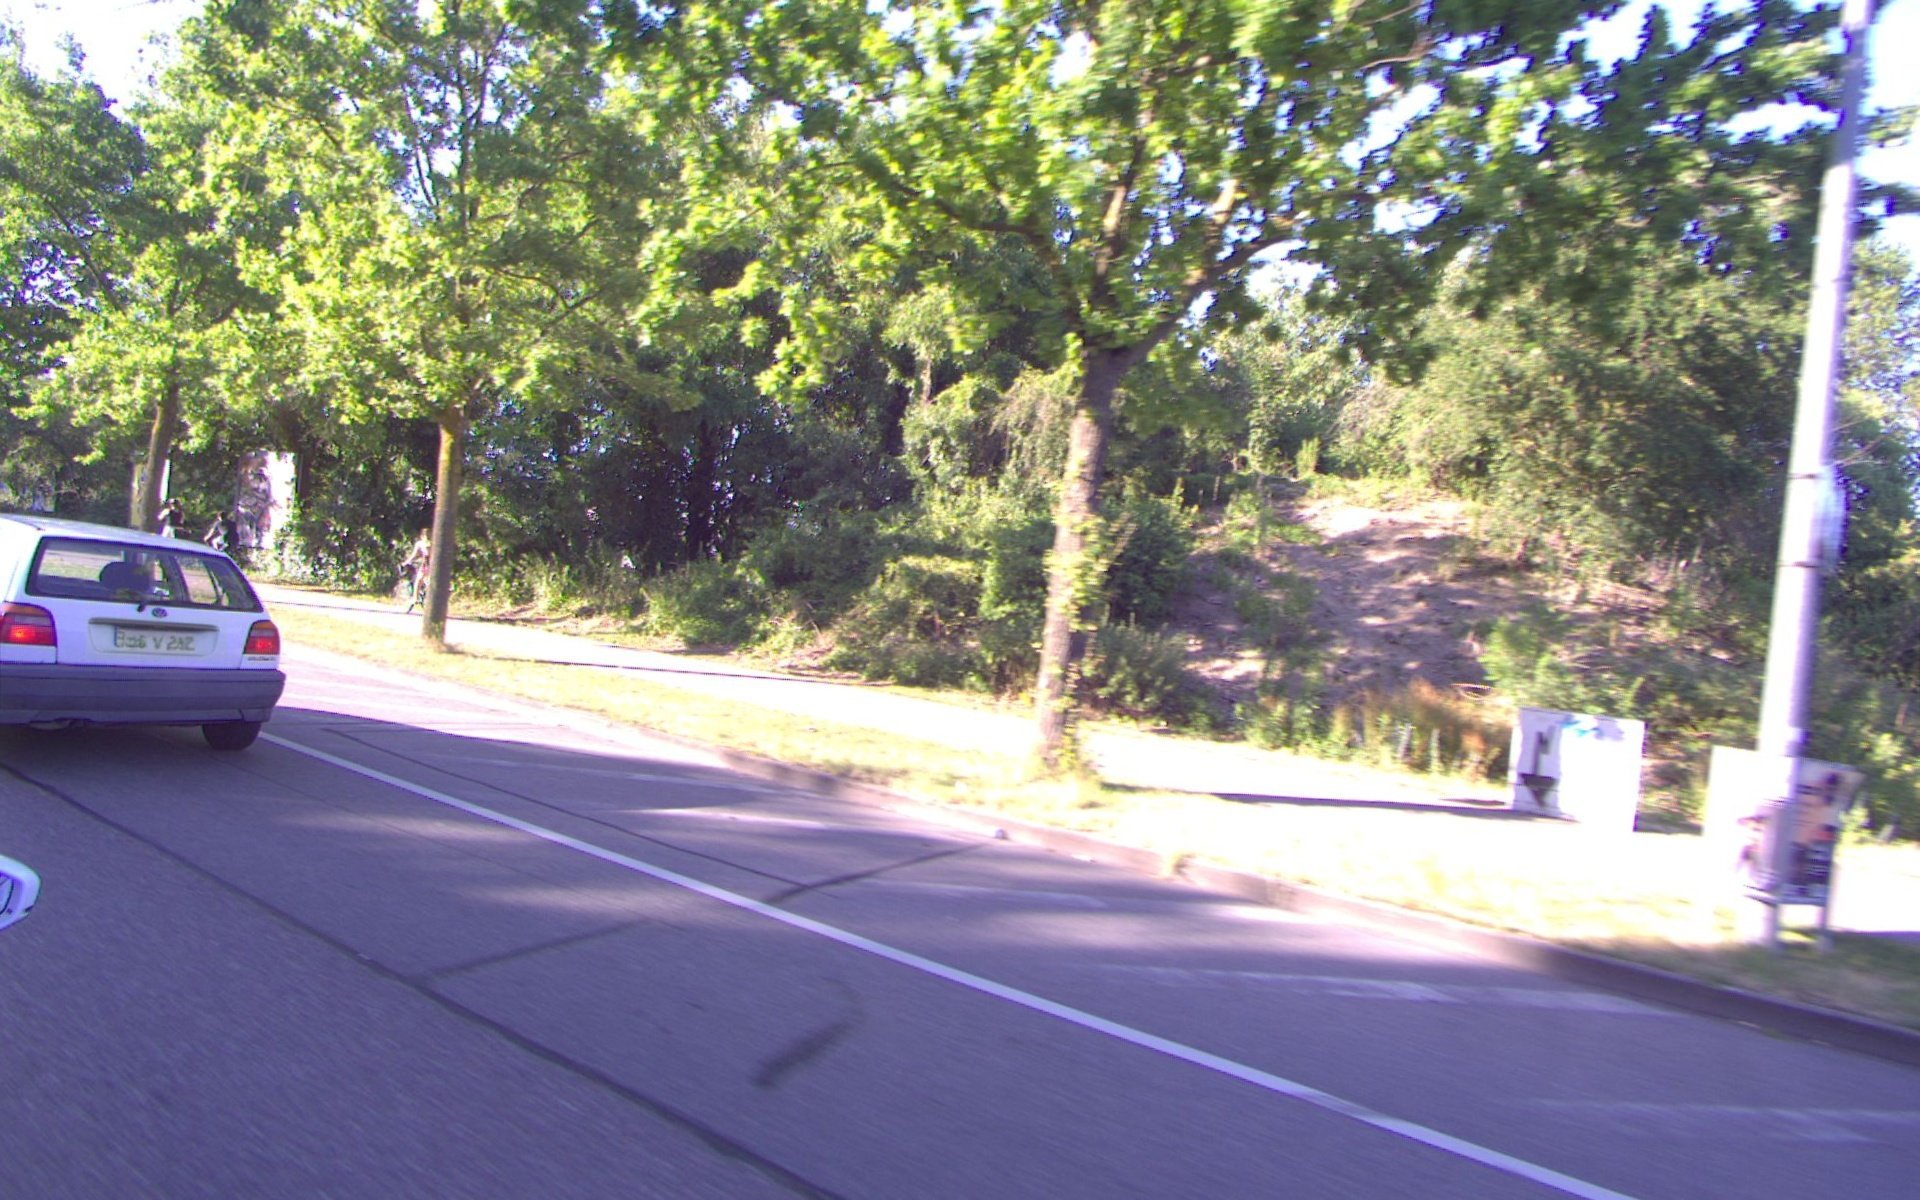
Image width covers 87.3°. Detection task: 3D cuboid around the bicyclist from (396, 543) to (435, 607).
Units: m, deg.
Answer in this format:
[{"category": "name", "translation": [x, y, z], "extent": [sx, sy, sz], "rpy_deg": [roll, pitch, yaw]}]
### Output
[{"category": "bicyclist", "translation": [-11.040, -0.503, 20.384], "extent": [0.452, 1.248, 0.428], "rpy_deg": [5, 0, 32]}]

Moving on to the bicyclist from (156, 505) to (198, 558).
[{"category": "bicyclist", "translation": [-21.489, -1.885, 27.609], "extent": [0.821, 1.331, 0.544], "rpy_deg": [5, -2, 31]}]

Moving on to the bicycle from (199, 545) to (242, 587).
[{"category": "bicycle", "translation": [-18.503, -0.851, 25.164], "extent": [1.010, 0.925, 0.438], "rpy_deg": [5, -2, 32]}]

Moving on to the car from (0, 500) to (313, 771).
[{"category": "car", "translation": [-6.437, 0.110, 6.946], "extent": [3.994, 1.429, 1.582], "rpy_deg": [5, -2, 31]}]

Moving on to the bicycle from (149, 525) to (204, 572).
[{"category": "bicycle", "translation": [-21.478, -1.414, 27.563], "extent": [1.595, 1.125, 0.565], "rpy_deg": [5, -2, 32]}]

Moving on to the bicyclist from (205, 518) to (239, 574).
[{"category": "bicyclist", "translation": [-18.501, -1.356, 25.212], "extent": [0.452, 1.324, 0.428], "rpy_deg": [5, -2, 32]}]

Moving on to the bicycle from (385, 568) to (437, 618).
[{"category": "bicycle", "translation": [-11.130, -0.142, 20.403], "extent": [1.010, 0.926, 0.437], "rpy_deg": [5, 1, 32]}]
